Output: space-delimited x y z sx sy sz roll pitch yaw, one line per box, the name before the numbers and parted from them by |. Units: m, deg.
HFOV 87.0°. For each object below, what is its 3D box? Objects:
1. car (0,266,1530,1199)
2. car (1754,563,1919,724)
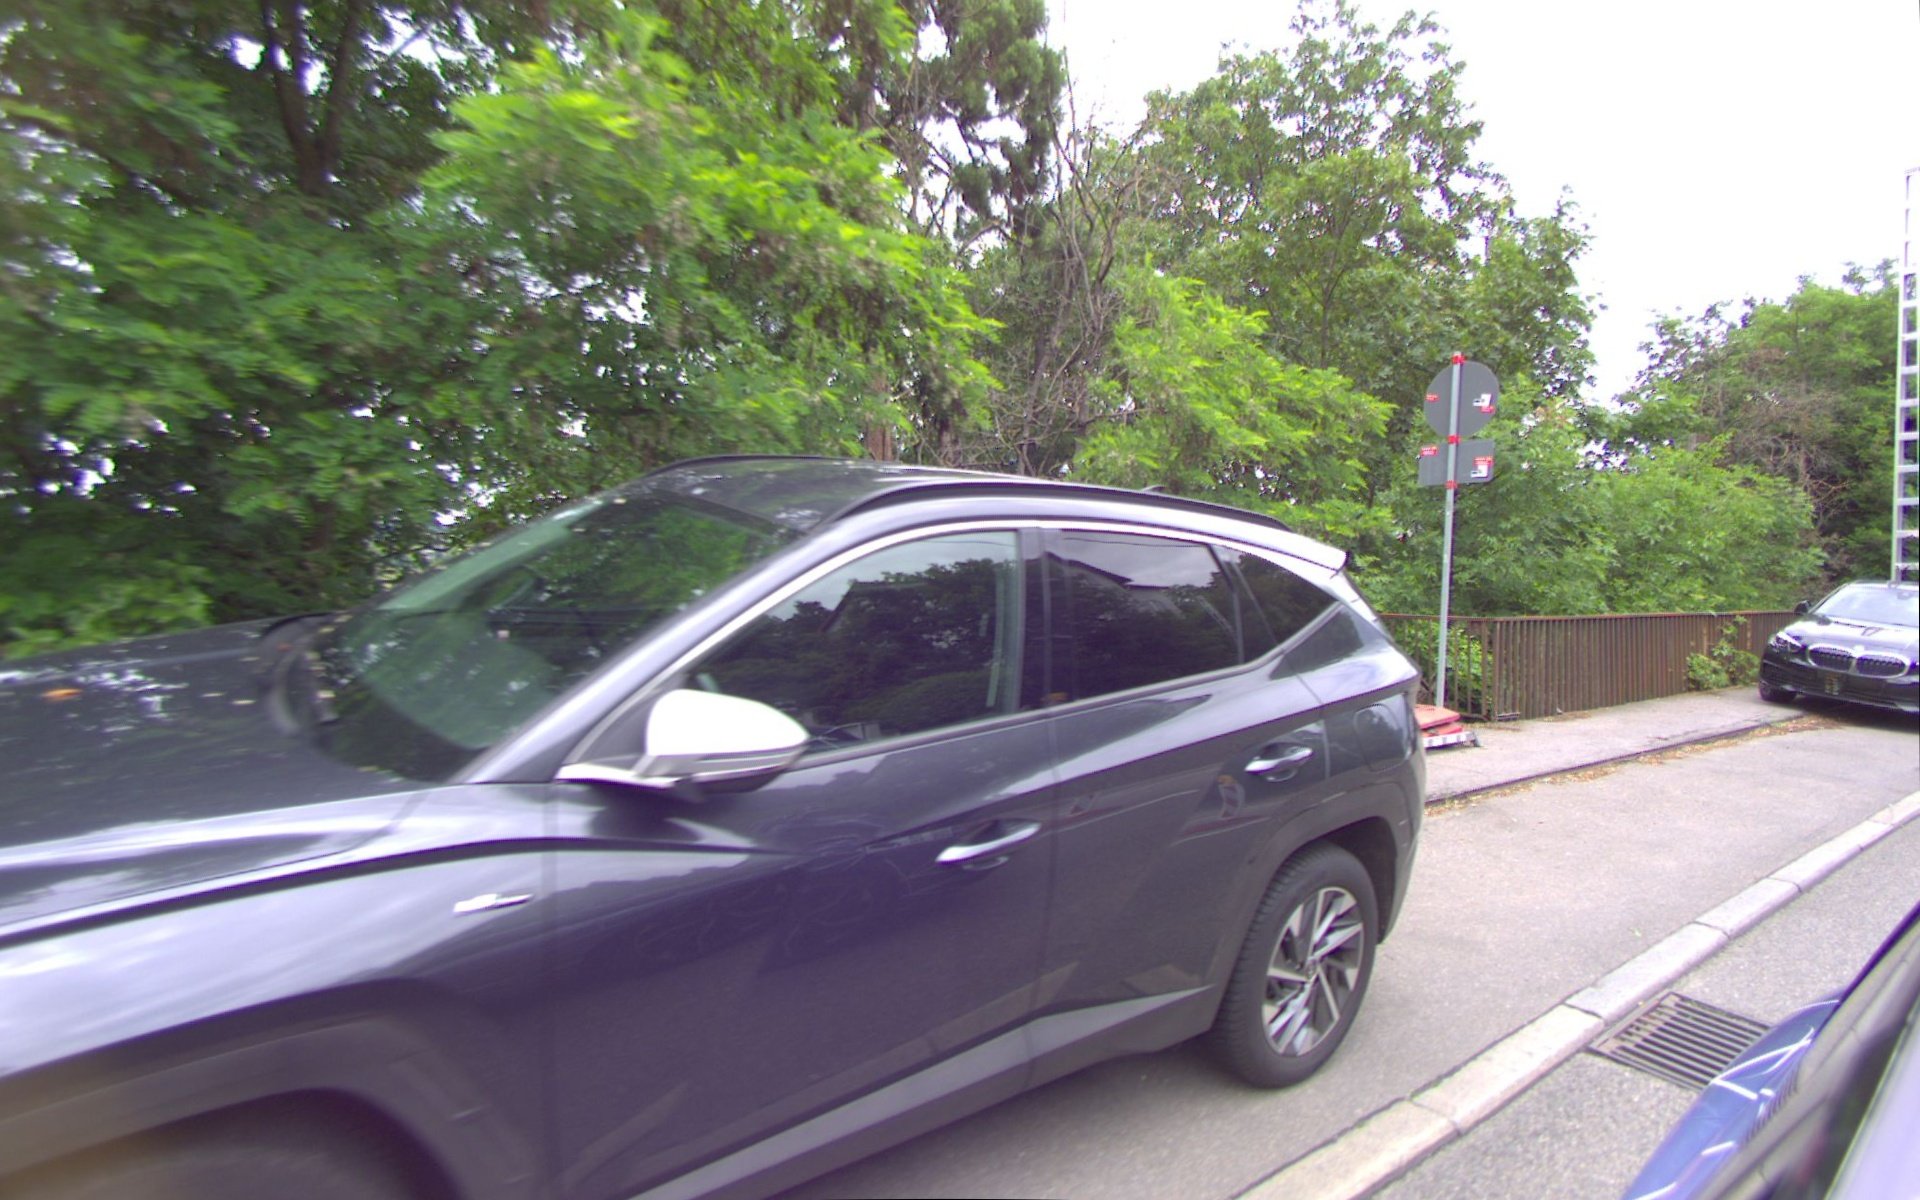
car | -0.489 0.357 2.747 4.199 1.693 1.861 -1 7 -37
car | 10.820 0.421 11.347 4.153 1.452 1.861 -1 7 -37
